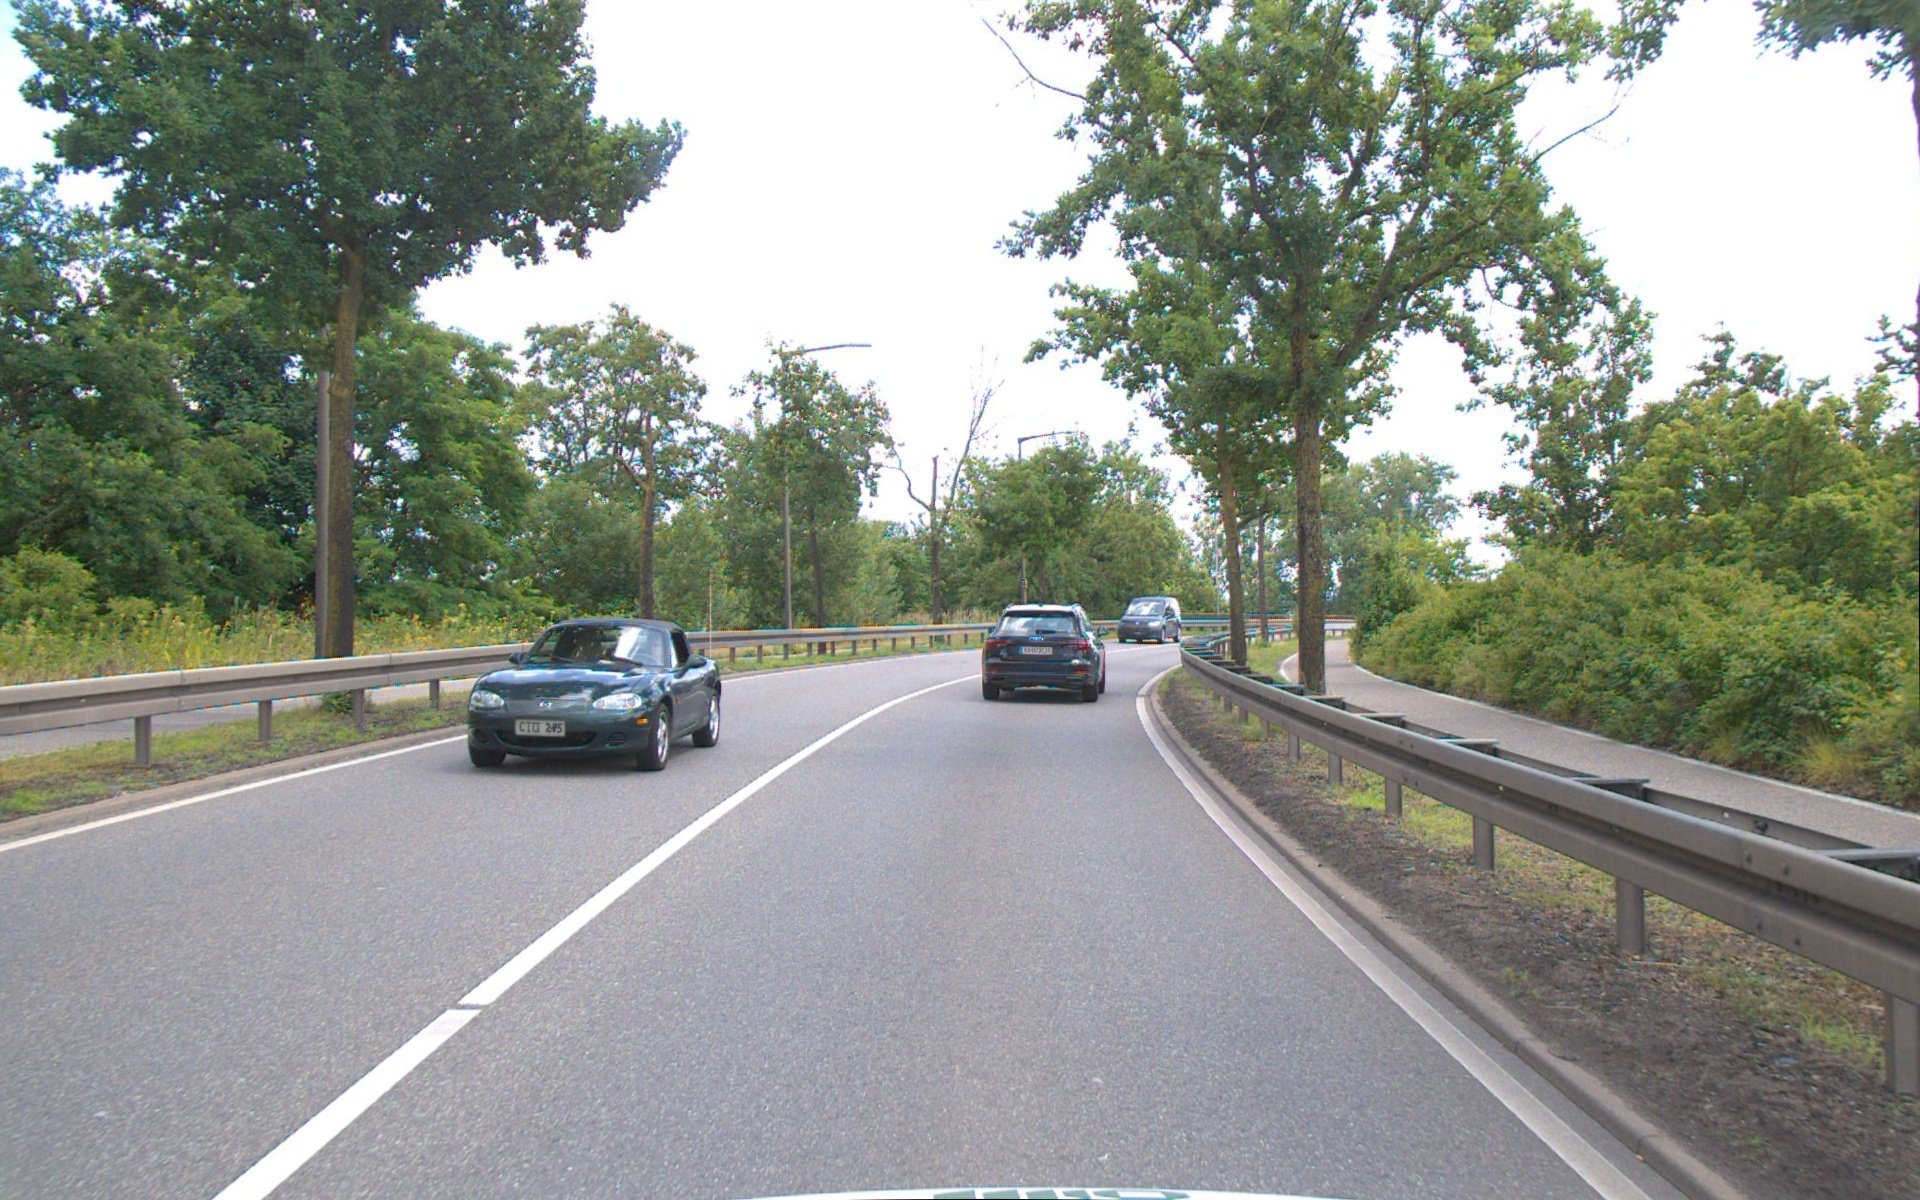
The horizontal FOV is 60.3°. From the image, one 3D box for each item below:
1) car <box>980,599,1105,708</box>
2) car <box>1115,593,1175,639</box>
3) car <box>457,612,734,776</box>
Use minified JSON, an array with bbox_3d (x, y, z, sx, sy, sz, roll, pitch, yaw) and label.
[{"bbox_3d":[1.236,0.770,26.071,1.790,1.518,4.207,1,0,1],"label":"car"},{"bbox_3d":[7.364,0.622,65.501,1.813,1.739,4.315,1,0,13],"label":"car"},{"bbox_3d":[-3.129,0.757,14.931,1.559,1.239,3.791,1,0,1],"label":"car"}]
